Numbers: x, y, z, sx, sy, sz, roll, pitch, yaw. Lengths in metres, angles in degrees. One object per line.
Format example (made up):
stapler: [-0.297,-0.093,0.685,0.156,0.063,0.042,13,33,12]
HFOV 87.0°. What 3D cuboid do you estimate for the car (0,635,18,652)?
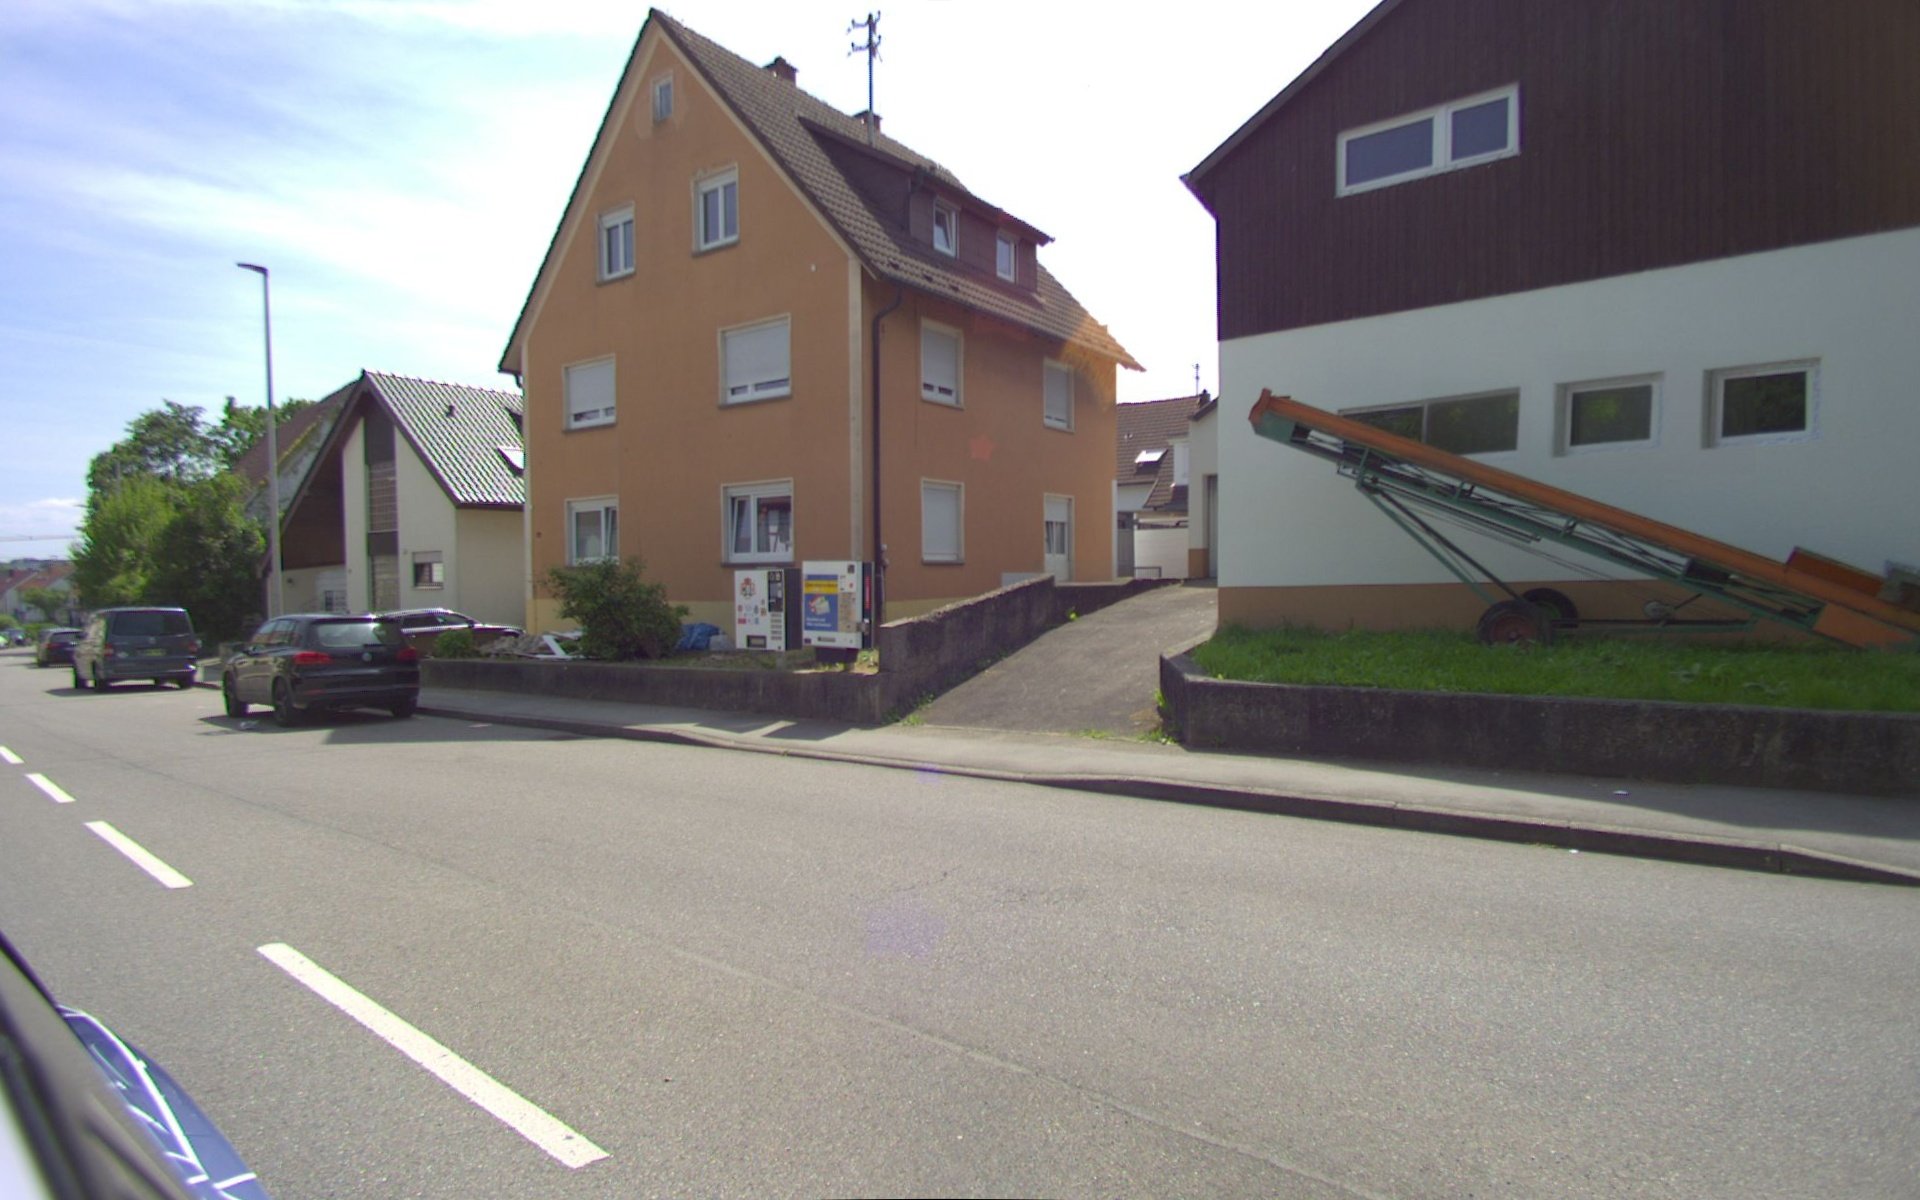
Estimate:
car: [-84.206,3.846,88.690,1.765,1.431,4.369,-1,-1,-35]

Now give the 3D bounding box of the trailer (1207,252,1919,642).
trailer: [5.647,-1.091,9.741,6.167,2.870,1.695,-2,0,39]

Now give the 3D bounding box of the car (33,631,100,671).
car: [-35.764,2.019,40.474,1.798,1.484,4.779,0,-2,-44]

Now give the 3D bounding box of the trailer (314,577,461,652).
trailer: [-19.834,0.463,35.170,1.999,2.027,3.794,-2,6,41]

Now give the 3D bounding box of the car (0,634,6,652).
car: [-80.098,3.593,83.318,1.765,1.466,4.726,-1,-1,-37]

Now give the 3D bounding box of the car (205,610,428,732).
car: [-10.165,1.026,15.853,4.284,1.648,1.751,-2,-1,40]

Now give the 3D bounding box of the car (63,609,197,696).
car: [-20.574,1.228,24.993,4.985,1.952,1.870,-2,-1,42]

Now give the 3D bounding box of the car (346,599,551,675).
car: [-12.843,0.889,25.656,1.818,1.415,4.191,-2,3,37]
